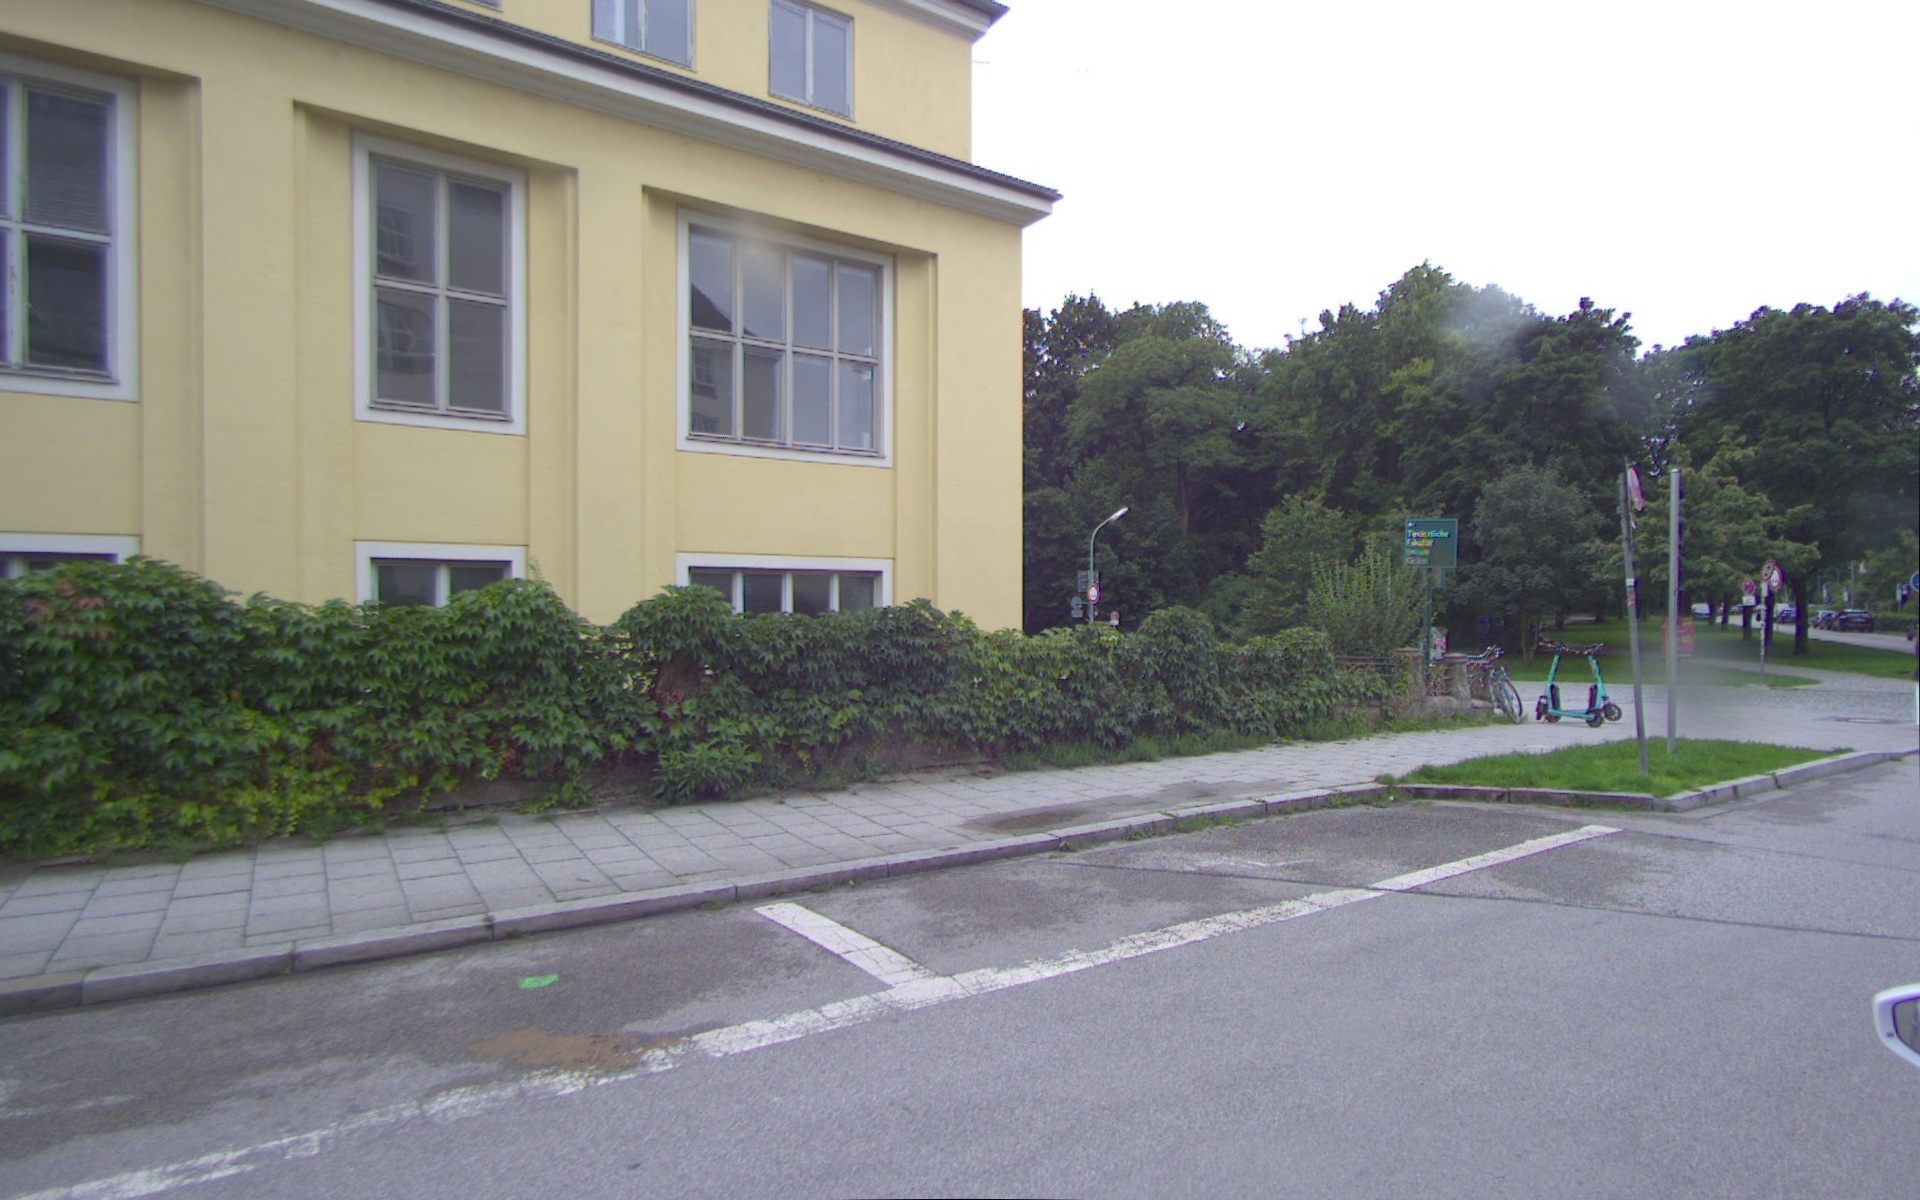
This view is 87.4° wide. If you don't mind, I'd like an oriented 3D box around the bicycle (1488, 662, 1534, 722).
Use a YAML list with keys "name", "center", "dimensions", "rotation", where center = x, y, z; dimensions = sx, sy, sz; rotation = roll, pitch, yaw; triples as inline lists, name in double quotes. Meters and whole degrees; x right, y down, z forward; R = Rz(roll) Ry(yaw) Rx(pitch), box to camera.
- name: "bicycle"
  center: [8.792, 1.448, 16.009]
  dimensions: [0.427, 0.905, 1.325]
  rotation: [0, -2, 38]

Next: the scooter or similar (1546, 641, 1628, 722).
- name: "scooter or similar"
  center: [10.066, 1.300, 16.134]
  dimensions: [1.032, 1.228, 0.439]
  rotation: [2, -1, -1]

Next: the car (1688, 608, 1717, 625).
- name: "car"
  center: [75.001, 1.646, 101.508]
  dimensions: [1.966, 1.622, 4.456]
  rotation: [0, -1, 32]

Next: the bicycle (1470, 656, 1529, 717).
- name: "bicycle"
  center: [9.523, 1.514, 17.769]
  dimensions: [0.406, 0.990, 1.276]
  rotation: [-1, -1, 4]

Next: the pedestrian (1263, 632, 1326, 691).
- name: "pedestrian"
  center: [7.687, 1.395, 23.046]
  dimensions: [1.255, 1.285, 0.841]
  rotation: [0, 0, -40]

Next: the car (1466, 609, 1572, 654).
- name: "car"
  center: [26.030, 1.449, 46.862]
  dimensions: [3.922, 2.040, 1.787]
  rotation: [0, -1, -2]

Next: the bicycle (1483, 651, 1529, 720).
- name: "bicycle"
  center: [9.444, 1.459, 17.405]
  dimensions: [0.295, 1.126, 1.192]
  rotation: [1, -1, 8]

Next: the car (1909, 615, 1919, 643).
- name: "car"
  center: [56.120, 1.645, 57.796]
  dimensions: [1.624, 1.579, 3.549]
  rotation: [0, -1, 34]

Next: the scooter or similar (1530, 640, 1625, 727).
- name: "scooter or similar"
  center: [9.592, 1.275, 15.639]
  dimensions: [0.389, 1.260, 1.258]
  rotation: [2, -1, -21]

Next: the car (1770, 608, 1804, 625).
- name: "car"
  center: [80.383, 1.604, 97.727]
  dimensions: [1.965, 1.622, 4.244]
  rotation: [0, -1, 31]

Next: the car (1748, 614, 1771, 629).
- name: "car"
  center: [91.622, 2.455, 115.109]
  dimensions: [1.704, 1.725, 3.988]
  rotation: [0, -1, 34]

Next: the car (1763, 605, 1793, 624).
- name: "car"
  center: [85.865, 1.532, 105.466]
  dimensions: [2.039, 1.992, 4.961]
  rotation: [0, -1, 35]

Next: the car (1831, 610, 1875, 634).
- name: "car"
  center: [66.443, 1.630, 74.795]
  dimensions: [1.767, 1.702, 3.991]
  rotation: [0, -1, 31]

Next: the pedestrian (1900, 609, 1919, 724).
- name: "pedestrian"
  center: [14.546, 0.989, 15.100]
  dimensions: [0.537, 1.719, 0.662]
  rotation: [-2, -2, 45]
